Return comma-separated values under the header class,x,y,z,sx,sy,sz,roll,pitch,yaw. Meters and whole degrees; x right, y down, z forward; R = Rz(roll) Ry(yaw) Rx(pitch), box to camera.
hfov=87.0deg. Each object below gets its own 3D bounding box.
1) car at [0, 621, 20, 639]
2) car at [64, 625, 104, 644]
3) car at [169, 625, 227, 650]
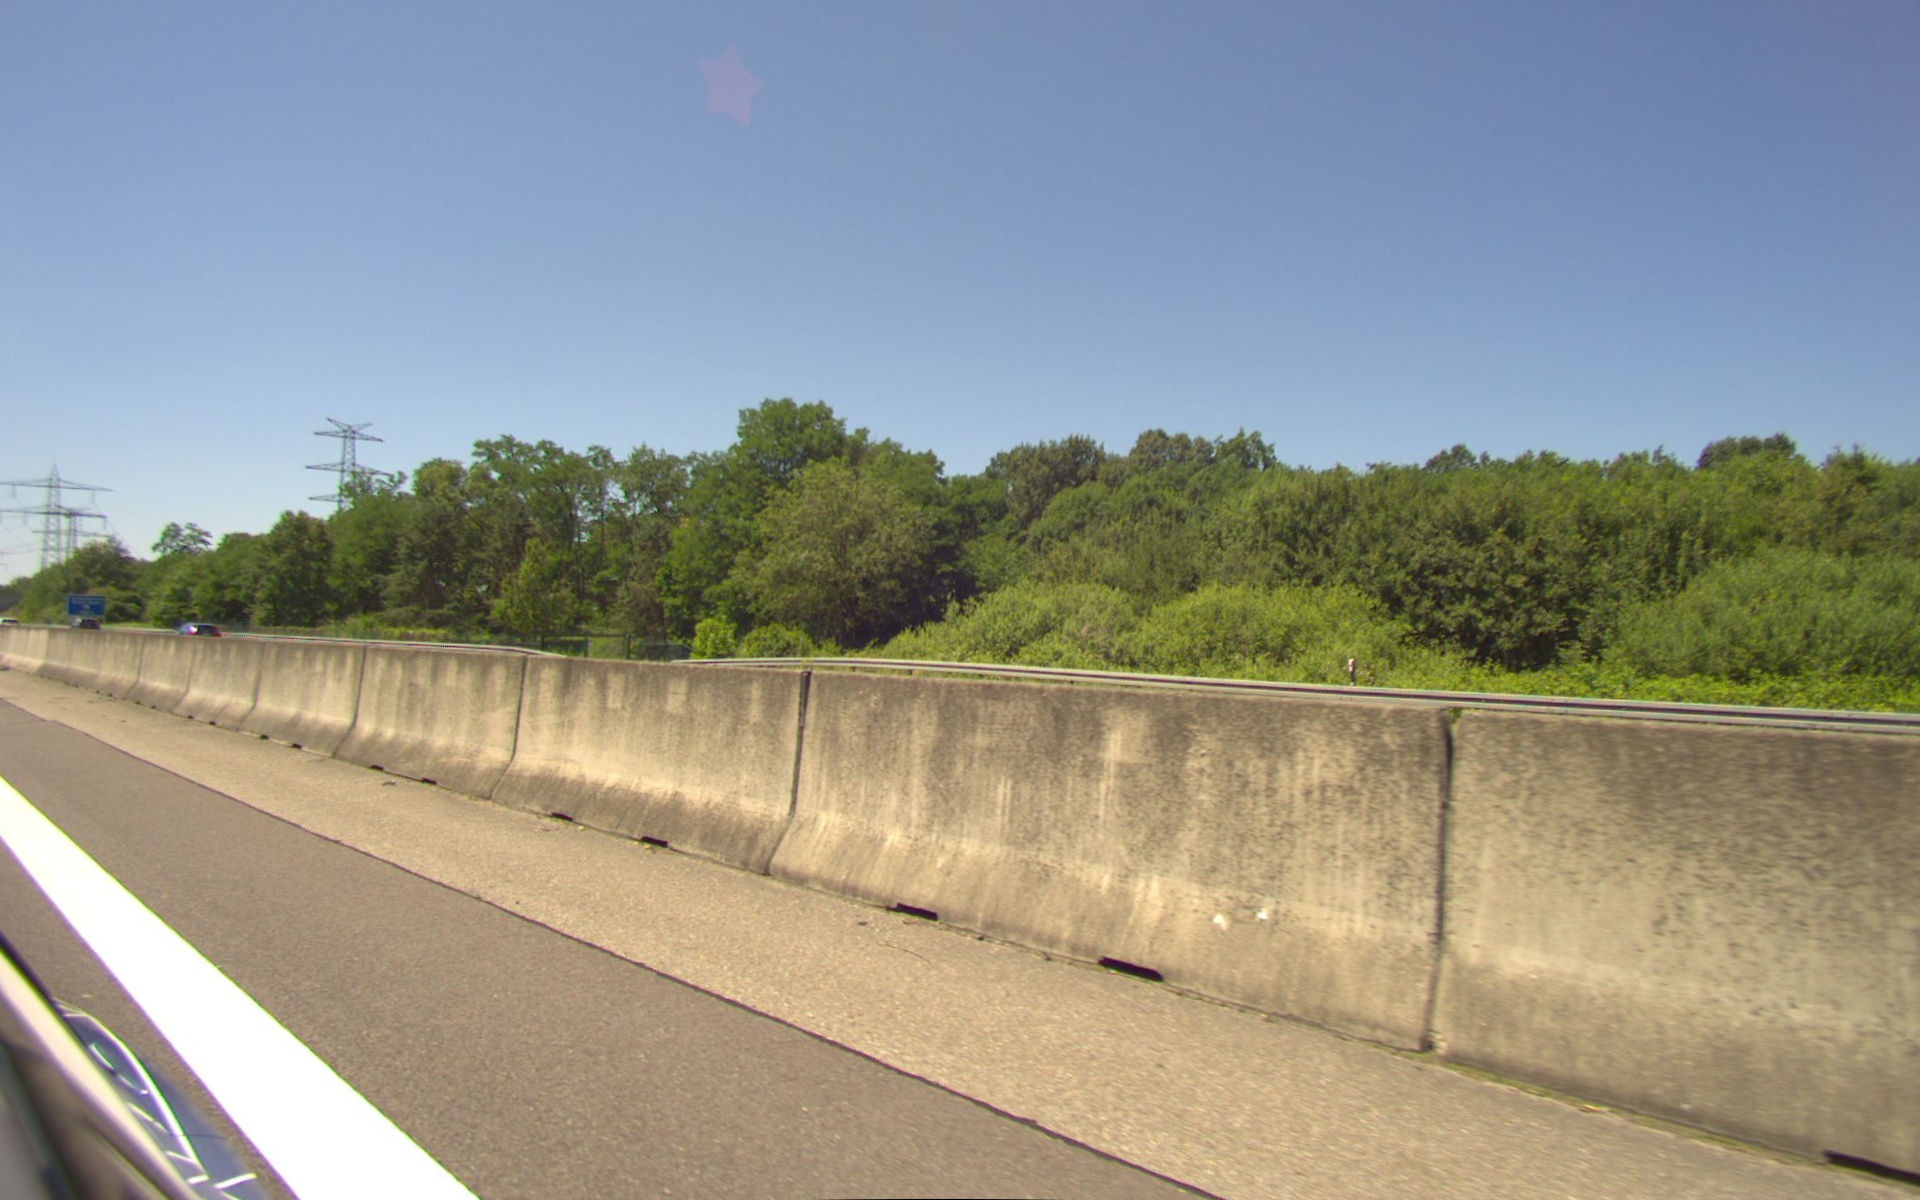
class,x,y,z,sx,sy,sz,roll,pitch,yaw
car,-86.285,2.703,91.212,4.681,1.550,1.755,-1,-4,41
car,-78.929,3.107,91.150,4.681,1.570,1.973,-1,-4,41
car,-48.187,2.359,63.947,4.822,1.490,1.888,-1,-4,41
